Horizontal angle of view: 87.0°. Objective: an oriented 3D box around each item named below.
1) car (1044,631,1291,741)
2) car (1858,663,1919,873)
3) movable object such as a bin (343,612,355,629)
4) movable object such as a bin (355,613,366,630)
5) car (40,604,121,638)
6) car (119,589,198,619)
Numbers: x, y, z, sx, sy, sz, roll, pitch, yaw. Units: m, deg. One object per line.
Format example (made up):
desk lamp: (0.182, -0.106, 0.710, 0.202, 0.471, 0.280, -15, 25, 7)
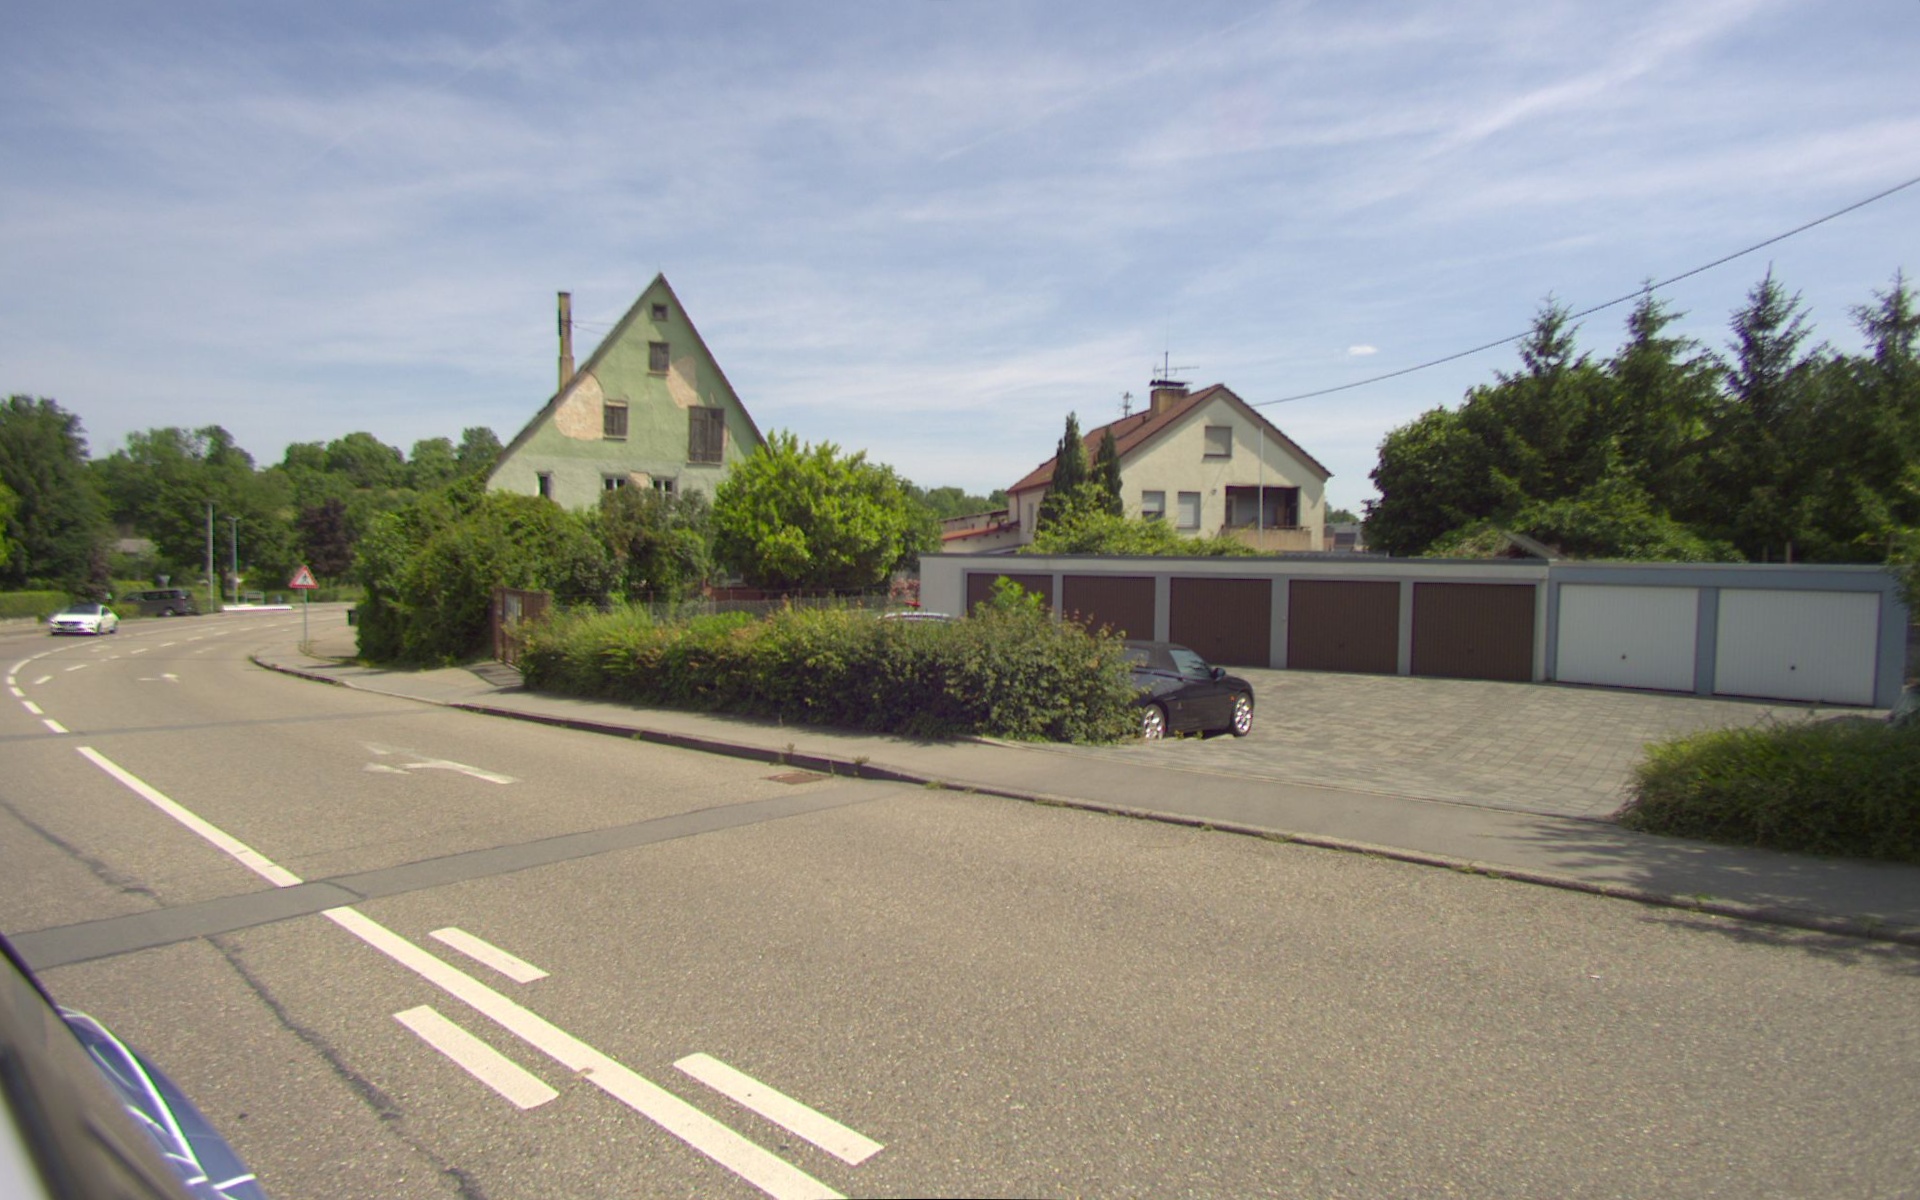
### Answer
car: (2.969, 1.167, 13.879, 1.645, 1.256, 3.916, -1, -5, 40)
car: (9.096, 1.398, 7.645, 3.225, 1.551, 1.459, 2, 1, 34)
movable object such as a bin: (-40.158, 1.329, 66.503, 0.545, 1.090, 0.542, -1, 0, -43)
movable object such as a bin: (-38.835, 1.395, 65.541, 0.527, 1.058, 0.542, -1, 0, -43)
car: (-42.252, 0.992, 48.701, 1.796, 1.564, 4.013, 1, 0, -23)
car: (-56.023, 0.260, 70.788, 3.844, 1.964, 1.962, -1, 0, -17)
